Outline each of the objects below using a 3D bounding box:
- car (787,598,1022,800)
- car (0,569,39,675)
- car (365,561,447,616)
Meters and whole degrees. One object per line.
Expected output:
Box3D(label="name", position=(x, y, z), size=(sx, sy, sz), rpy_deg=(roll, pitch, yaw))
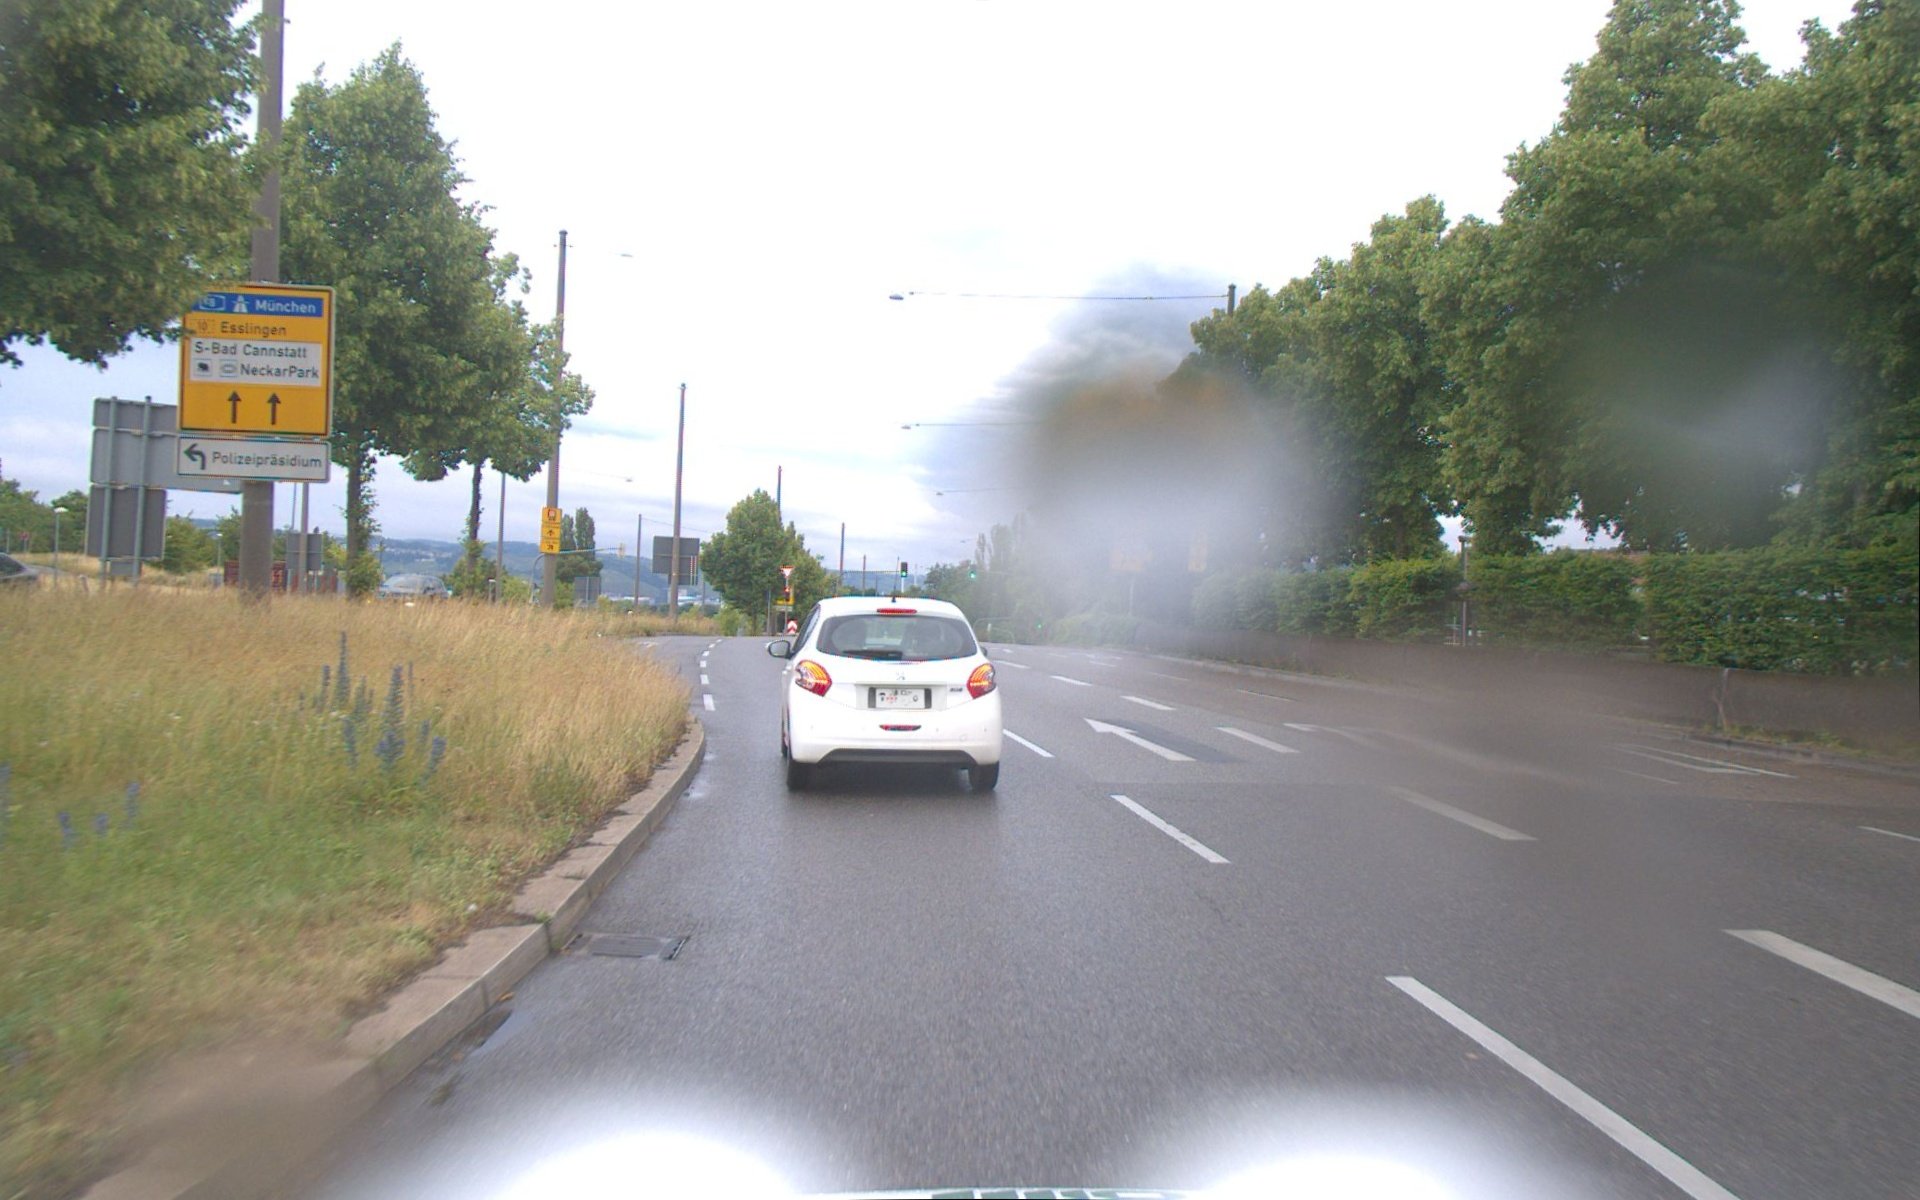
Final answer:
Box3D(label="car", position=(-0.590, 0.737, 13.931), size=(1.676, 1.465, 3.685), rpy_deg=(1, -1, -7))
Box3D(label="car", position=(-16.109, 0.323, 25.386), size=(1.842, 1.682, 4.351), rpy_deg=(2, 0, -6))
Box3D(label="car", position=(-19.174, -0.373, 57.383), size=(1.733, 1.780, 3.996), rpy_deg=(2, 0, -5))
